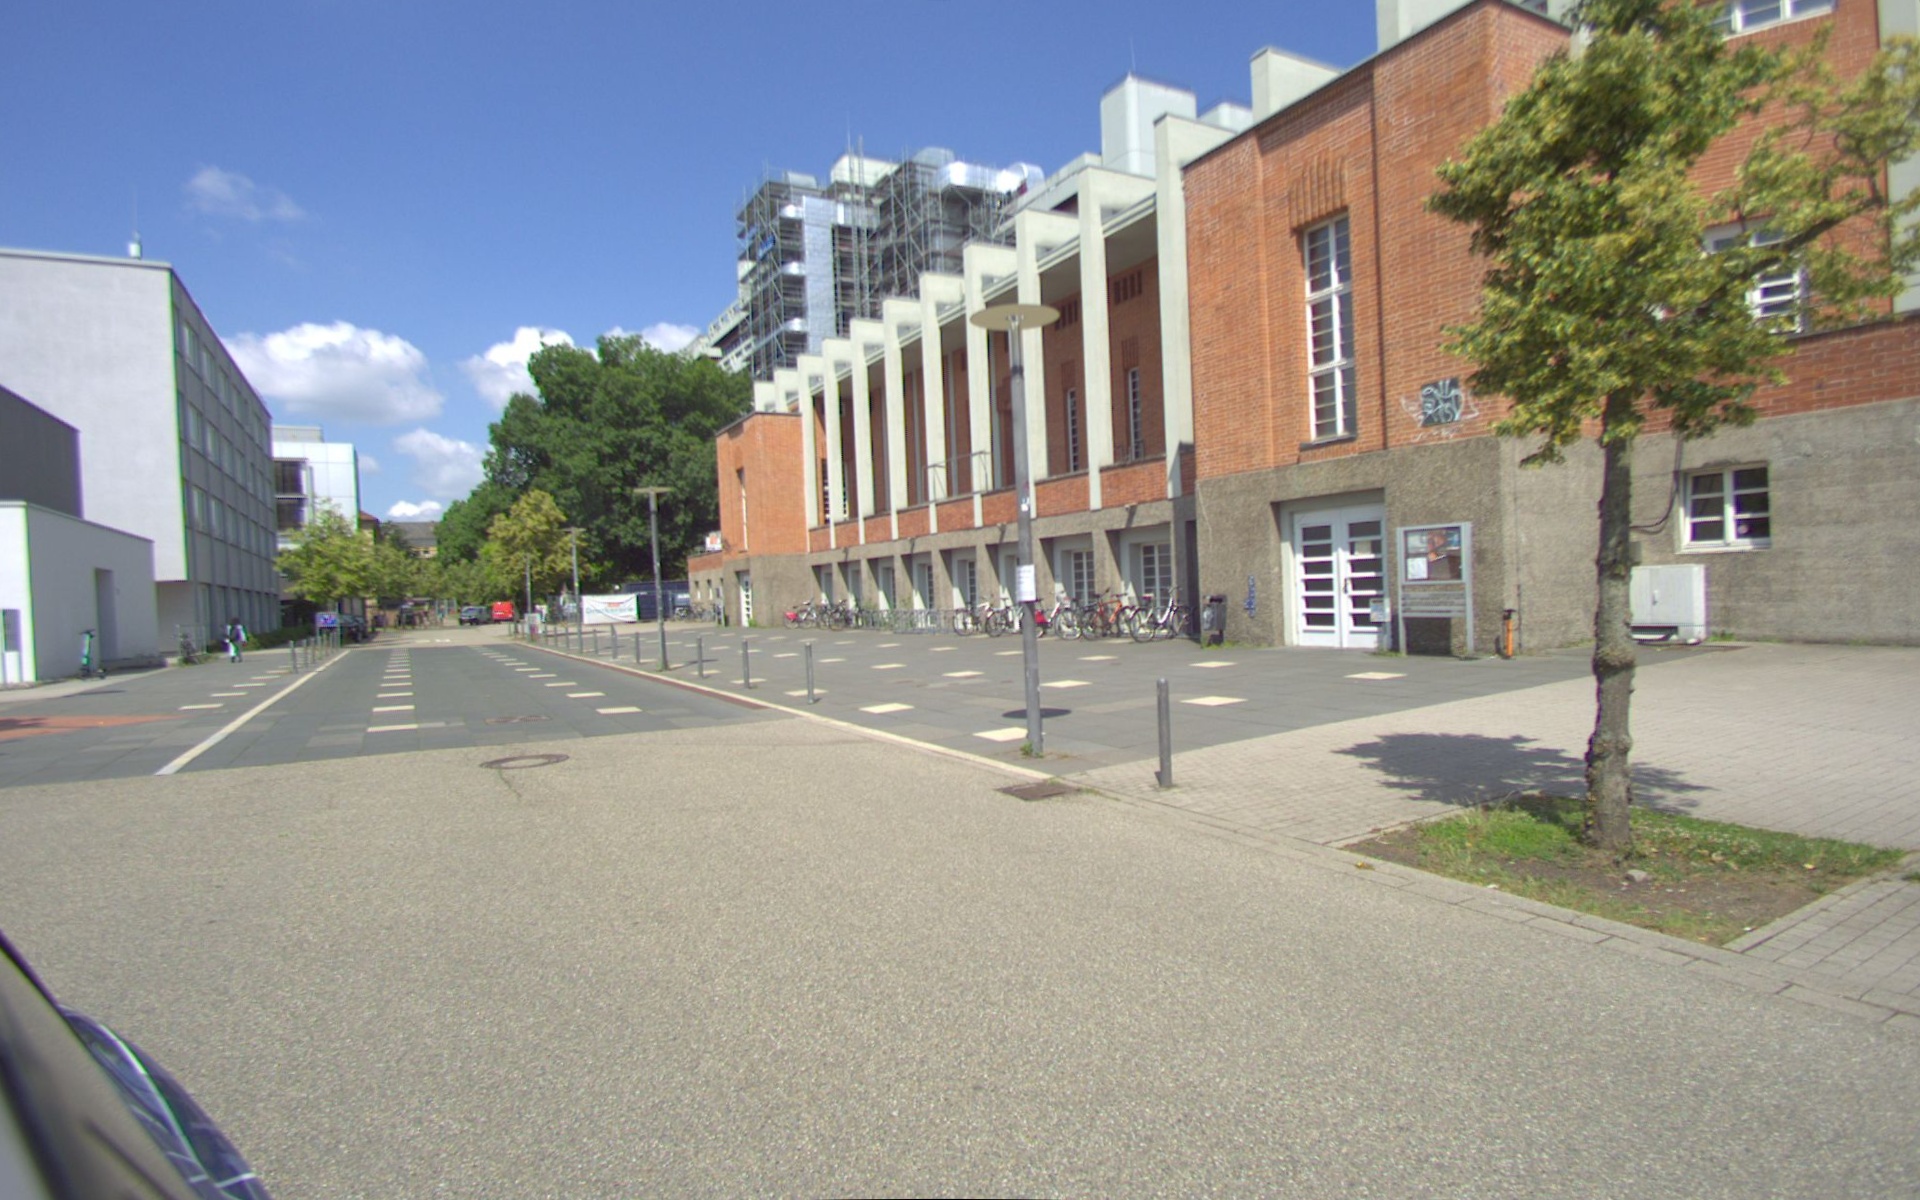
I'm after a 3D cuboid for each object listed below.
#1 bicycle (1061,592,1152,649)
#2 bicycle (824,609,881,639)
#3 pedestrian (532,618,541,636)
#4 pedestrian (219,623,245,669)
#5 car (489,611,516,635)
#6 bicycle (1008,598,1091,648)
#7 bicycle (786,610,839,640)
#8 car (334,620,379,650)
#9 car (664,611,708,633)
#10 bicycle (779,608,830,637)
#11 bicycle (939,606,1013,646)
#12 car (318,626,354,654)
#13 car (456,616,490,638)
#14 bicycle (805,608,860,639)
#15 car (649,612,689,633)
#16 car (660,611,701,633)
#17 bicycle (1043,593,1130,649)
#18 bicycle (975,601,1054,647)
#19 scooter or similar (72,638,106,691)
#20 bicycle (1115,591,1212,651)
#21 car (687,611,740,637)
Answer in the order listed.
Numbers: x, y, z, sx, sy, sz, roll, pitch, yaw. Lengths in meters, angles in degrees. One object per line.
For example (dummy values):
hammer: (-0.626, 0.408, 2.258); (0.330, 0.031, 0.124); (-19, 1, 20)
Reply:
bicycle: (3.298, 0.447, 22.699); (1.993, 1.134, 0.594); (-3, 0, -28)
bicycle: (-3.808, 0.852, 35.949); (1.923, 0.947, 0.570); (-3, 0, -30)
pedestrian: (-36.470, 2.313, 87.182); (0.632, 1.550, 0.454); (-3, 0, -18)
pedestrian: (-24.005, 1.506, 33.374); (0.516, 1.449, 0.703); (-3, 0, -26)
car: (-38.447, 1.933, 85.072); (1.881, 1.896, 4.013); (-3, 0, -22)
bicycle: (2.200, 0.556, 24.738); (1.982, 1.090, 0.623); (-3, 0, -30)
bicycle: (-5.735, 0.958, 39.439); (1.923, 1.038, 0.520); (-3, 0, -30)
car: (-36.959, 2.098, 62.047); (1.908, 1.694, 3.480); (-2, 0, -24)
car: (-16.023, 1.279, 59.200); (2.329, 1.189, 0.797); (-3, 0, -27)
bicycle: (-6.183, 0.898, 40.251); (1.923, 1.038, 0.543); (-3, 0, -30)
bicycle: (0.455, 0.707, 27.882); (1.923, 0.967, 0.687); (-3, 0, -30)
car: (-33.523, 2.129, 54.433); (1.526, 1.396, 3.464); (-3, 0, -31)
car: (-51.850, 2.870, 107.870); (1.995, 2.107, 4.440); (-3, 0, -8)
bicycle: (-4.680, 0.856, 37.270); (1.923, 1.038, 0.532); (-3, 0, -30)
car: (-18.109, 1.389, 62.953); (2.287, 1.189, 0.481); (-3, 0, -27)
car: (-16.821, 1.325, 60.853); (2.251, 1.189, 0.526); (-3, 0, -27)
bicycle: (2.925, 0.467, 23.383); (1.993, 1.134, 0.440); (-5, 1, -25)
bicycle: (1.430, 0.605, 26.407); (1.994, 1.069, 0.665); (-3, 0, -30)
scooter or similar: (-21.518, 1.577, 25.012); (0.321, 1.245, 1.077); (-3, 0, -26)
bicycle: (4.241, 0.421, 21.050); (1.994, 1.134, 0.669); (-3, 0, -30)
car: (-12.665, 1.203, 52.022); (2.486, 1.189, 0.634); (-3, 0, -27)
